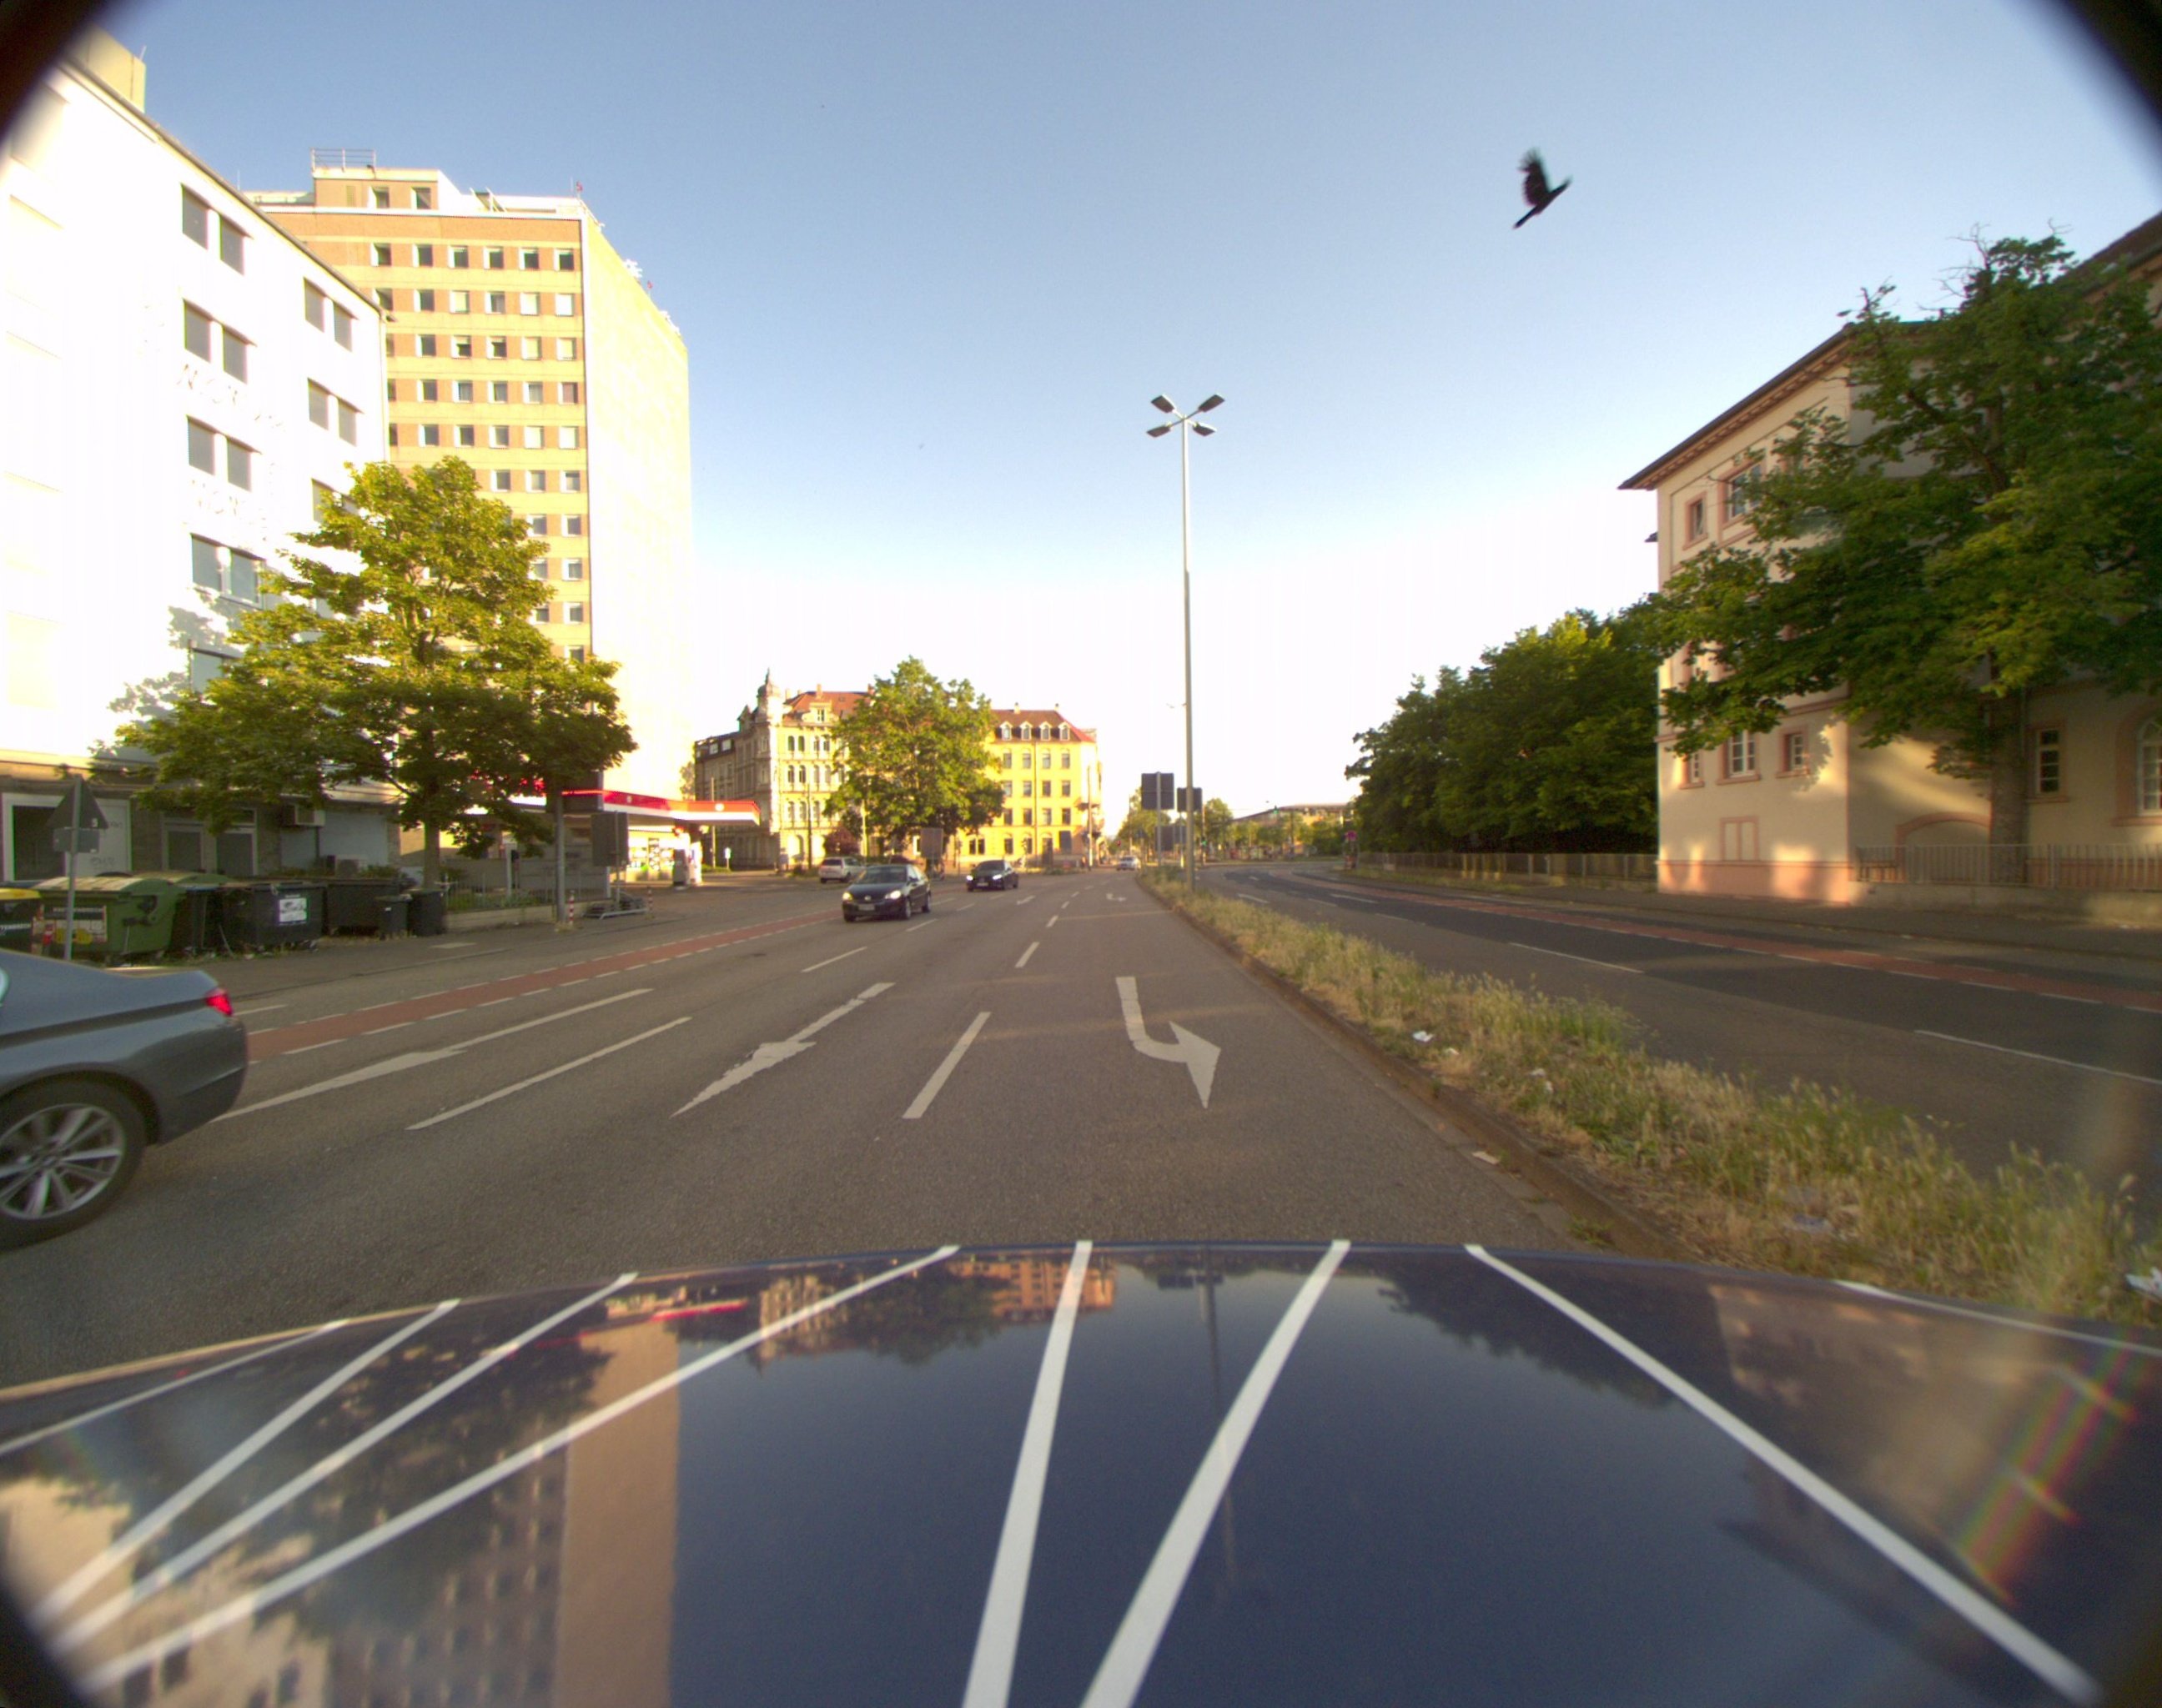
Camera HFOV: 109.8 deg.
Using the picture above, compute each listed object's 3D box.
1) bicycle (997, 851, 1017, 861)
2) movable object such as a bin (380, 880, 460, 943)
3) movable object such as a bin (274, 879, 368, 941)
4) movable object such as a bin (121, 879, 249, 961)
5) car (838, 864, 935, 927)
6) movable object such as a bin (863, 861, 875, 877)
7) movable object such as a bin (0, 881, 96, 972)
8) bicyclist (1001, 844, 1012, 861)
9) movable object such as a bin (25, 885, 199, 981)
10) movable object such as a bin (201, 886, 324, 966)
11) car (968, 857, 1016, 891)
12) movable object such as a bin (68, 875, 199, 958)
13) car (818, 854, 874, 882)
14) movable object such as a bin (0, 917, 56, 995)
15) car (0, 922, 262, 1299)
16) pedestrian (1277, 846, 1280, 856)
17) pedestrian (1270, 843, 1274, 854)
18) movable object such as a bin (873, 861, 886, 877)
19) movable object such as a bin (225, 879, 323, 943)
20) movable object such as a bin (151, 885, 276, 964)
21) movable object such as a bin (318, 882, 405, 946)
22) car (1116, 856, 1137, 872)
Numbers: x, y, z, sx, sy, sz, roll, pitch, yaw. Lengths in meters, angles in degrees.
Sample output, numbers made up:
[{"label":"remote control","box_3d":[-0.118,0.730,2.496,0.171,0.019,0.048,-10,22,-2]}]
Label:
[{"label":"bicycle","box_3d":[-7.589,0.197,77.864,1.927,1.053,0.451,-1,1,-7]},{"label":"movable object such as a bin","box_3d":[-14.879,1.279,17.135,0.956,1.320,0.953,-1,1,-2]},{"label":"movable object such as a bin","box_3d":[-16.931,1.231,16.958,0.956,1.276,1.098,-1,1,-2]},{"label":"movable object such as a bin","box_3d":[-17.122,1.234,14.562,1.034,1.440,1.162,-1,1,-2]},{"label":"car","box_3d":[-5.193,1.047,20.776,1.584,1.441,3.872,-2,0,1]},{"label":"movable object such as a bin","box_3d":[-13.865,0.985,49.763,0.544,1.013,0.688,-1,1,5]},{"label":"movable object such as a bin","box_3d":[-18.689,1.256,13.404,1.034,1.490,1.162,-1,1,-2]},{"label":"bicyclist","box_3d":[-7.661,-0.148,77.904,1.065,1.639,0.732,-1,1,-7]},{"label":"movable object such as a bin","box_3d":[-15.811,1.260,12.457,1.351,1.415,1.105,-1,1,-4]},{"label":"movable object such as a bin","box_3d":[-14.938,1.289,13.916,0.956,1.320,1.162,-1,1,-2]},{"label":"car","box_3d":[-4.207,0.927,36.507,1.731,1.441,4.045,-2,0,1]},{"label":"movable object such as a bin","box_3d":[-18.298,1.172,14.716,1.034,1.490,1.162,-1,1,-2]},{"label":"car","box_3d":[-13.951,0.815,45.274,1.688,1.508,3.797,-1,1,8]},{"label":"movable object such as a bin","box_3d":[-15.512,1.457,10.745,0.853,1.039,0.819,-1,1,-4]},{"label":"car","box_3d":[-5.279,1.122,1.723,1.820,1.441,4.665,-2,0,-2]},{"label":"pedestrian","box_3d":[34.957,-0.582,134.396,0.467,1.695,0.419,-1,1,1]},{"label":"pedestrian","box_3d":[34.493,-1.064,137.038,0.556,2.002,0.664,-1,1,1]},{"label":"movable object such as a bin","box_3d":[-13.144,0.970,49.553,0.544,1.013,0.688,-1,1,5]},{"label":"movable object such as a bin","box_3d":[-17.929,1.244,16.915,0.956,1.320,1.098,-1,1,-2]},{"label":"movable object such as a bin","box_3d":[-16.038,1.279,14.094,0.956,1.320,1.162,-1,1,-2]},{"label":"movable object such as a bin","box_3d":[-15.803,1.305,16.722,0.956,1.320,0.953,-1,1,-2]},{"label":"car","box_3d":[4.446,0.963,73.700,1.673,1.410,4.443,-2,0,8]}]
